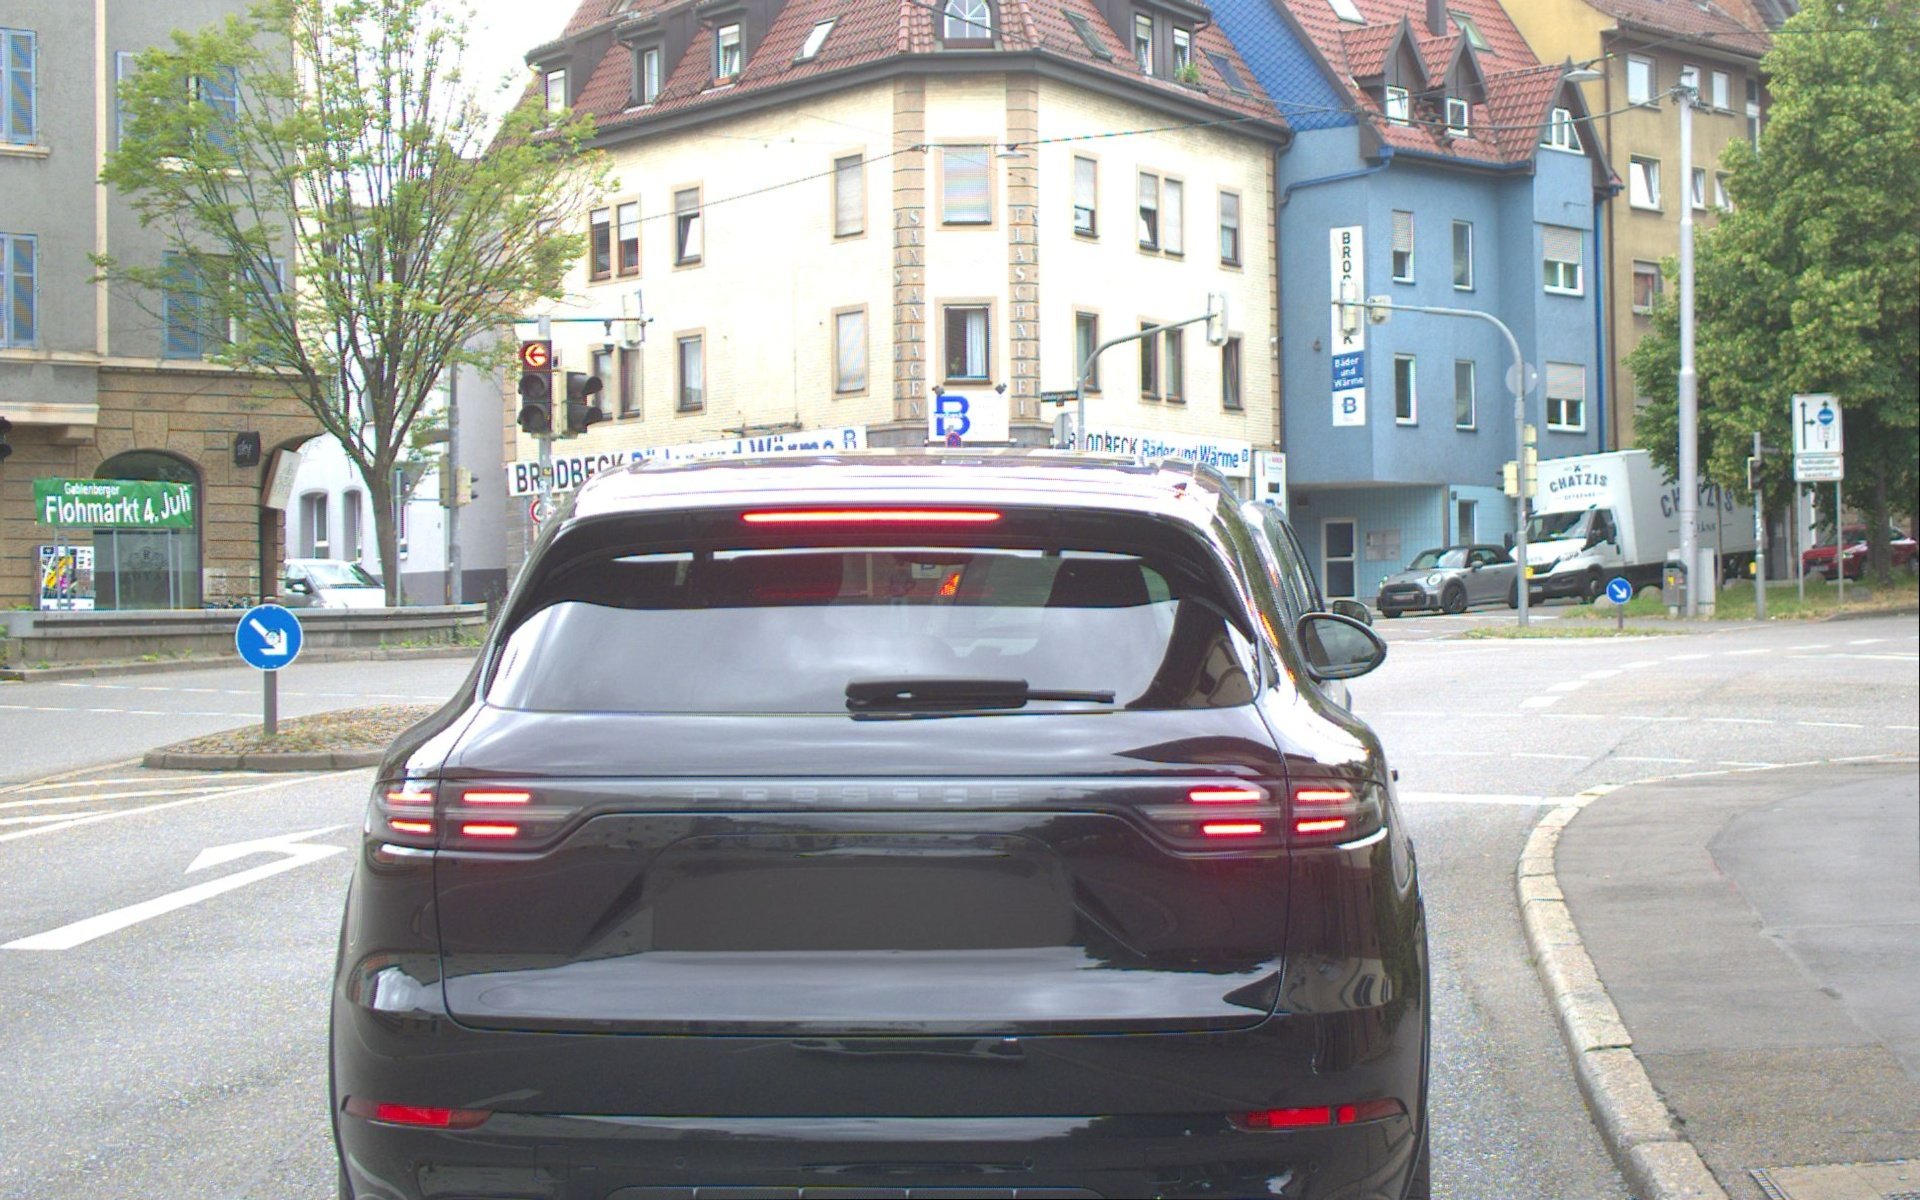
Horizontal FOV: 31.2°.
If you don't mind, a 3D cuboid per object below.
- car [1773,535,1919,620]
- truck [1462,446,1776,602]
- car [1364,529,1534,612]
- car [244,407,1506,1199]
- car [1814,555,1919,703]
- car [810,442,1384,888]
[{"bbox_3d":[22.306,-0.557,86.150,1.999,2.007,3.990,2,1,43],"label":"car"},{"bbox_3d":[15.162,-1.681,78.559,2.880,3.328,8.772,2,1,41],"label":"truck"},{"bbox_3d":[10.247,-0.619,71.843,1.997,1.678,3.992,0,1,33],"label":"car"},{"bbox_3d":[-0.240,0.482,7.405,1.978,1.678,4.001,0,2,-3],"label":"car"},{"bbox_3d":[13.987,0.419,47.271,1.994,2.007,4.000,1,0,-35],"label":"car"},{"bbox_3d":[0.750,0.218,15.065,1.994,1.678,3.998,0,1,10],"label":"car"}]
